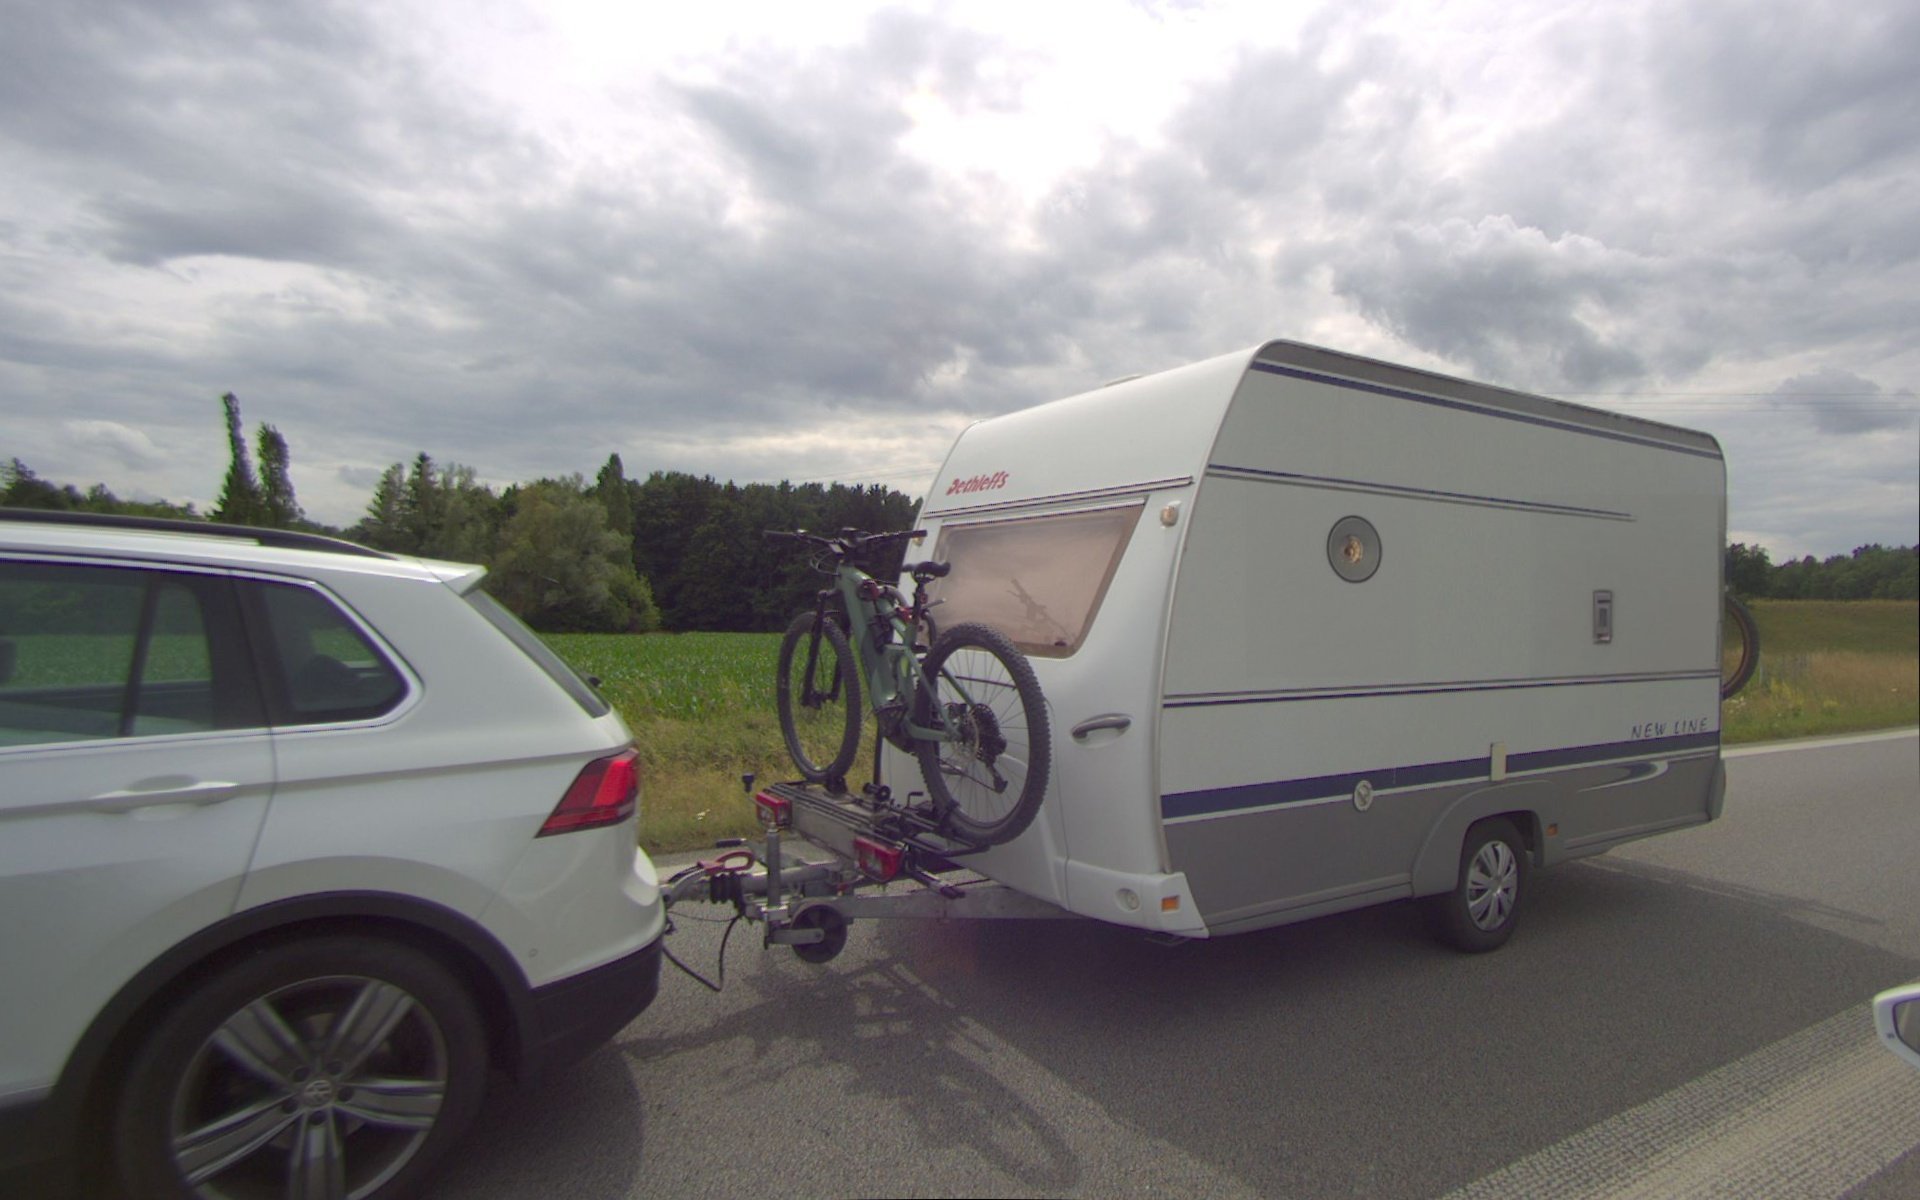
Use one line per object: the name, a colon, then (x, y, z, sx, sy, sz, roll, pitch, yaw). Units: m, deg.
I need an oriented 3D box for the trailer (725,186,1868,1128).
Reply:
trailer: (2.136, 0.230, 5.306, 6.171, 2.609, 2.171, 2, 0, -31)

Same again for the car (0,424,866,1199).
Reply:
car: (-2.609, 0.487, 2.473, 4.277, 1.679, 1.996, 2, 0, -31)
